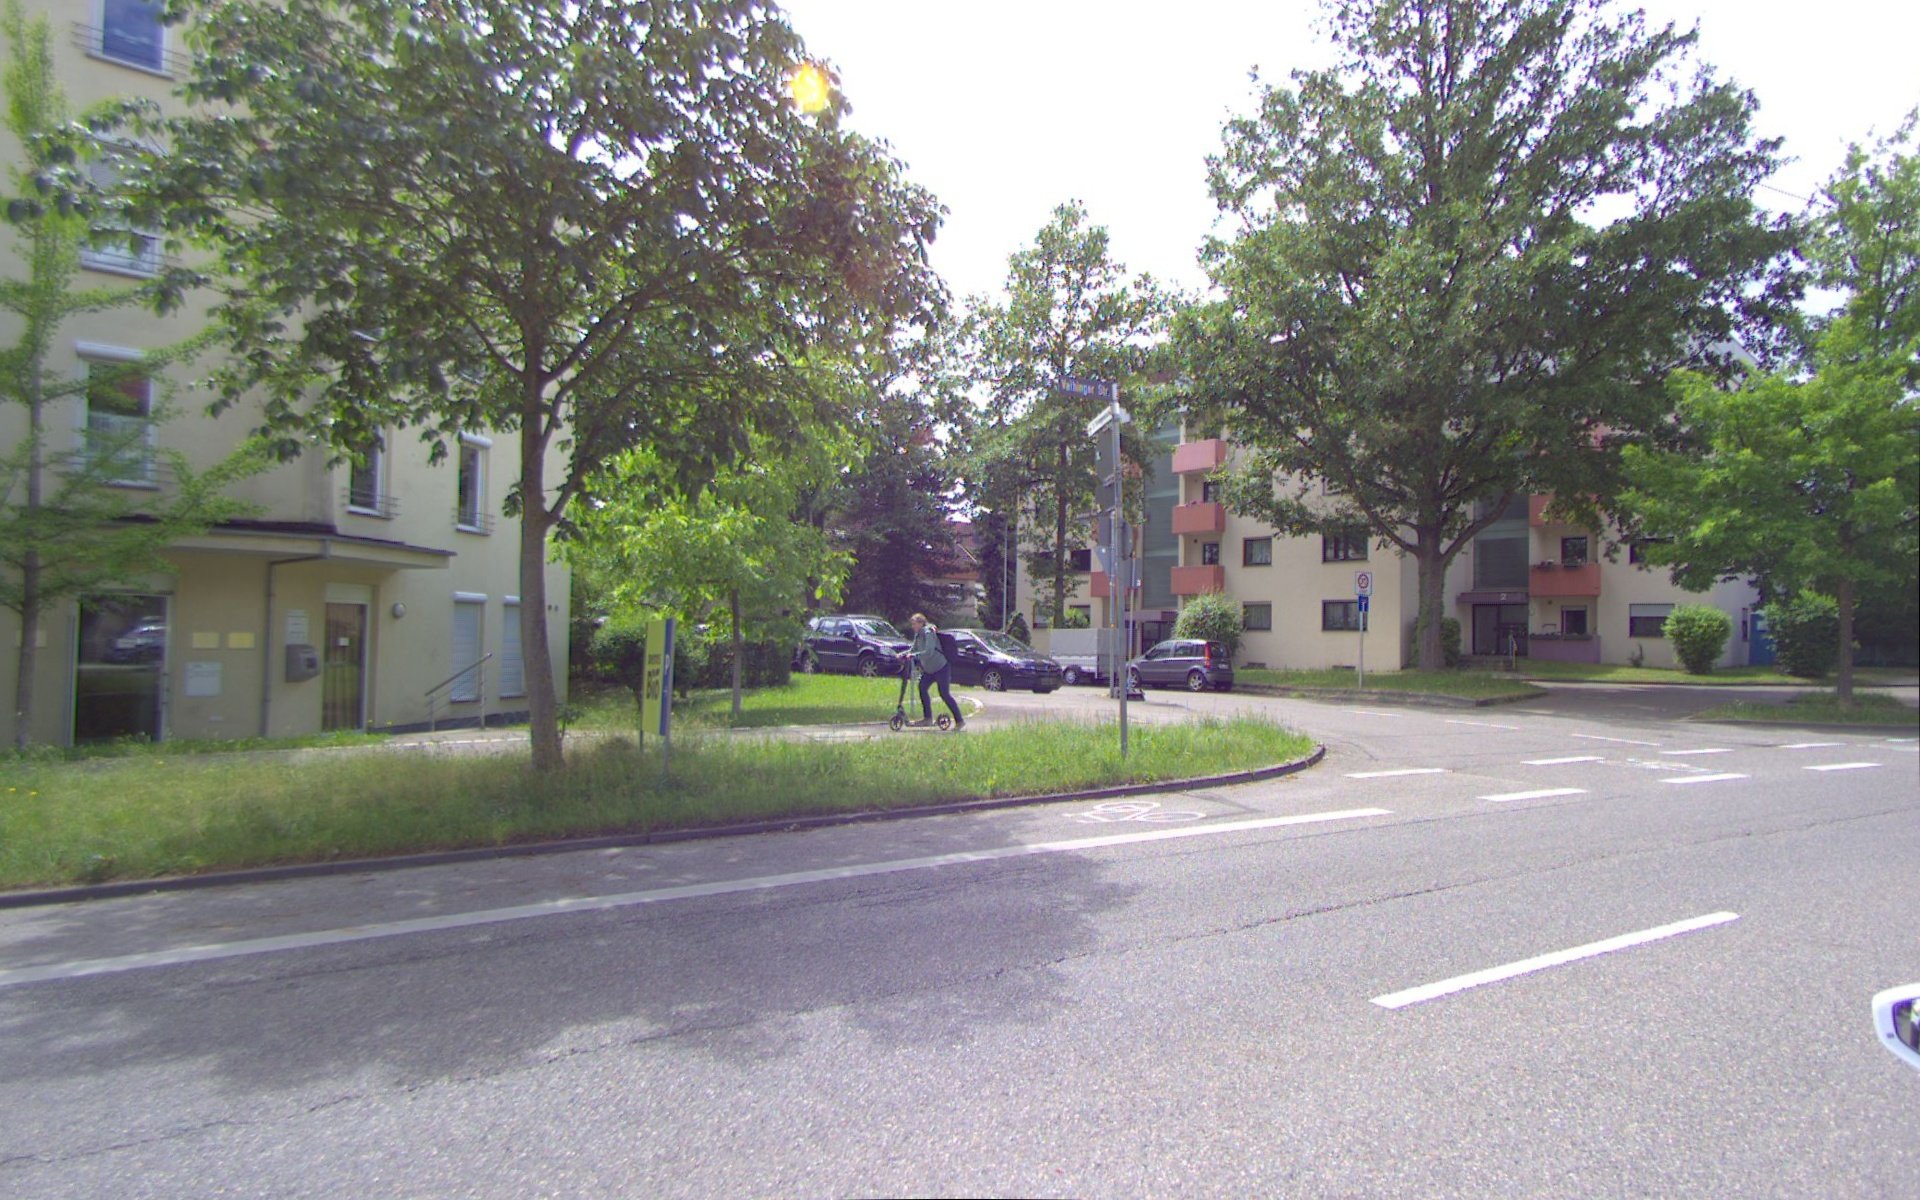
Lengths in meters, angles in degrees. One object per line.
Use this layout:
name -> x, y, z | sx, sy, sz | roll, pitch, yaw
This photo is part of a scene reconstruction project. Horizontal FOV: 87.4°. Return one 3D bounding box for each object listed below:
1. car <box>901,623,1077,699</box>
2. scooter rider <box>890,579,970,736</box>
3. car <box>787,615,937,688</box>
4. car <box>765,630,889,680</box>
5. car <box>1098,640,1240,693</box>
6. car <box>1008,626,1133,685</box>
car -> 0.589, 1.354, 23.381 | 1.725, 1.417, 4.100 | 2, 0, -42
scooter rider -> -0.409, 0.751, 13.501 | 0.785, 2.040, 0.673 | 2, 0, -30
car -> -2.756, 1.360, 27.566 | 1.857, 1.675, 4.378 | 2, 0, -41
car -> -5.143, 2.066, 38.823 | 4.337, 1.817, 2.124 | -1, -2, 28
car -> 6.267, 1.966, 30.366 | 3.944, 1.471, 1.687 | -2, -2, 43
car -> 3.671, 1.907, 33.811 | 1.832, 1.868, 3.951 | 2, -5, -42
